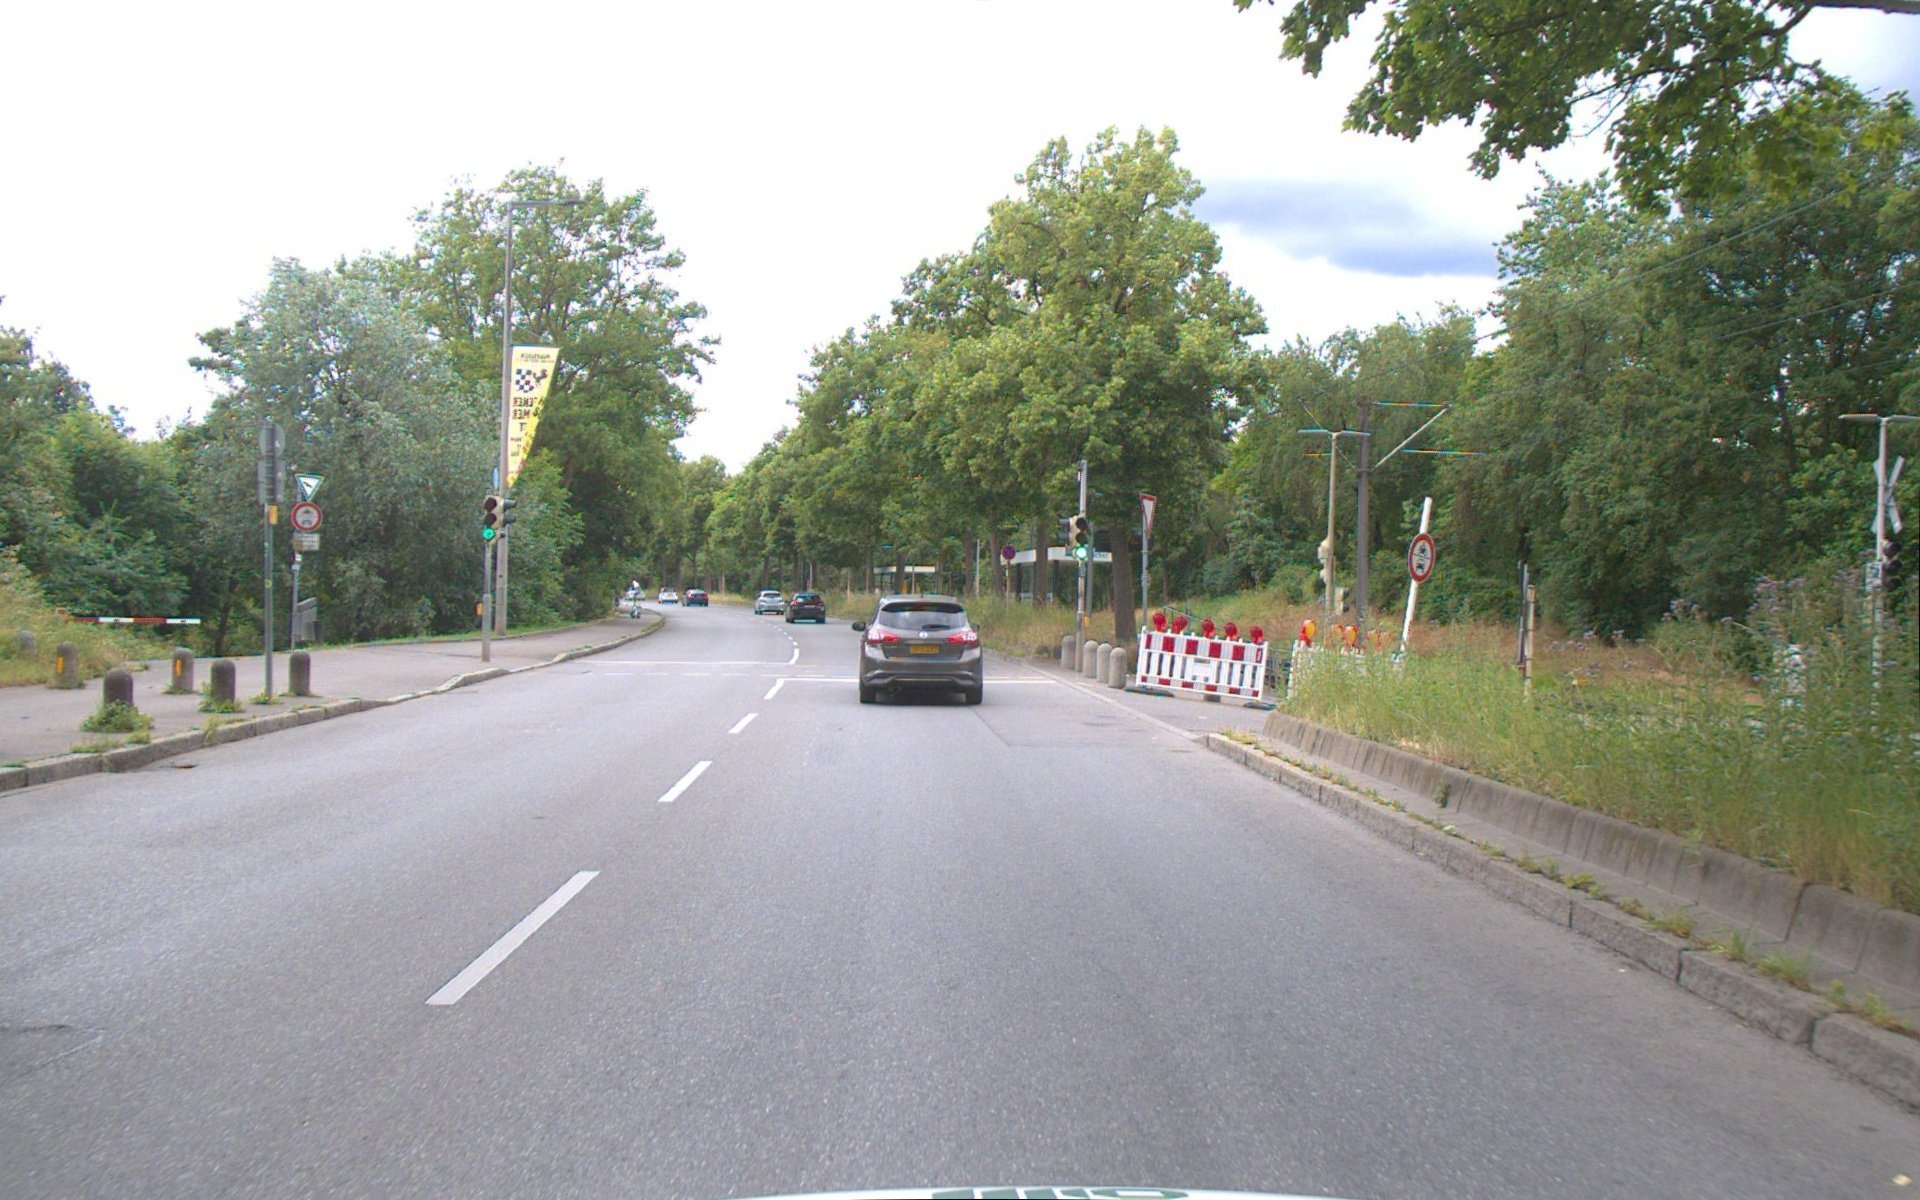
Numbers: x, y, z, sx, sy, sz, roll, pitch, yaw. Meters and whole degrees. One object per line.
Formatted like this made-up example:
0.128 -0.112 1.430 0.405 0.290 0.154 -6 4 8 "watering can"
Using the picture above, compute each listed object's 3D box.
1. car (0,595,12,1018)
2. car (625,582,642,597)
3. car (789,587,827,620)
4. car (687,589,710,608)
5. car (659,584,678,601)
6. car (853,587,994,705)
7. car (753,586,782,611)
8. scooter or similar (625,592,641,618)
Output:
-4.131 0.728 3.593 1.737 1.464 4.360 0 0 -2 "car"
-35.630 -1.114 180.376 1.744 1.497 3.989 3 0 -11 "car"
-7.531 0.142 81.860 1.742 1.497 3.995 3 0 -6 "car"
-22.893 -0.168 144.636 1.745 1.497 3.989 5 0 -12 "car"
-28.234 -0.753 160.467 1.743 1.497 3.991 2 1 -10 "car"
-0.622 0.615 24.514 1.781 1.534 3.996 0 1 -6 "car"
-12.351 -0.109 106.411 1.742 1.497 3.995 3 0 -6 "car"
-15.885 0.232 80.283 0.360 1.204 1.285 2 0 -29 "scooter or similar"
